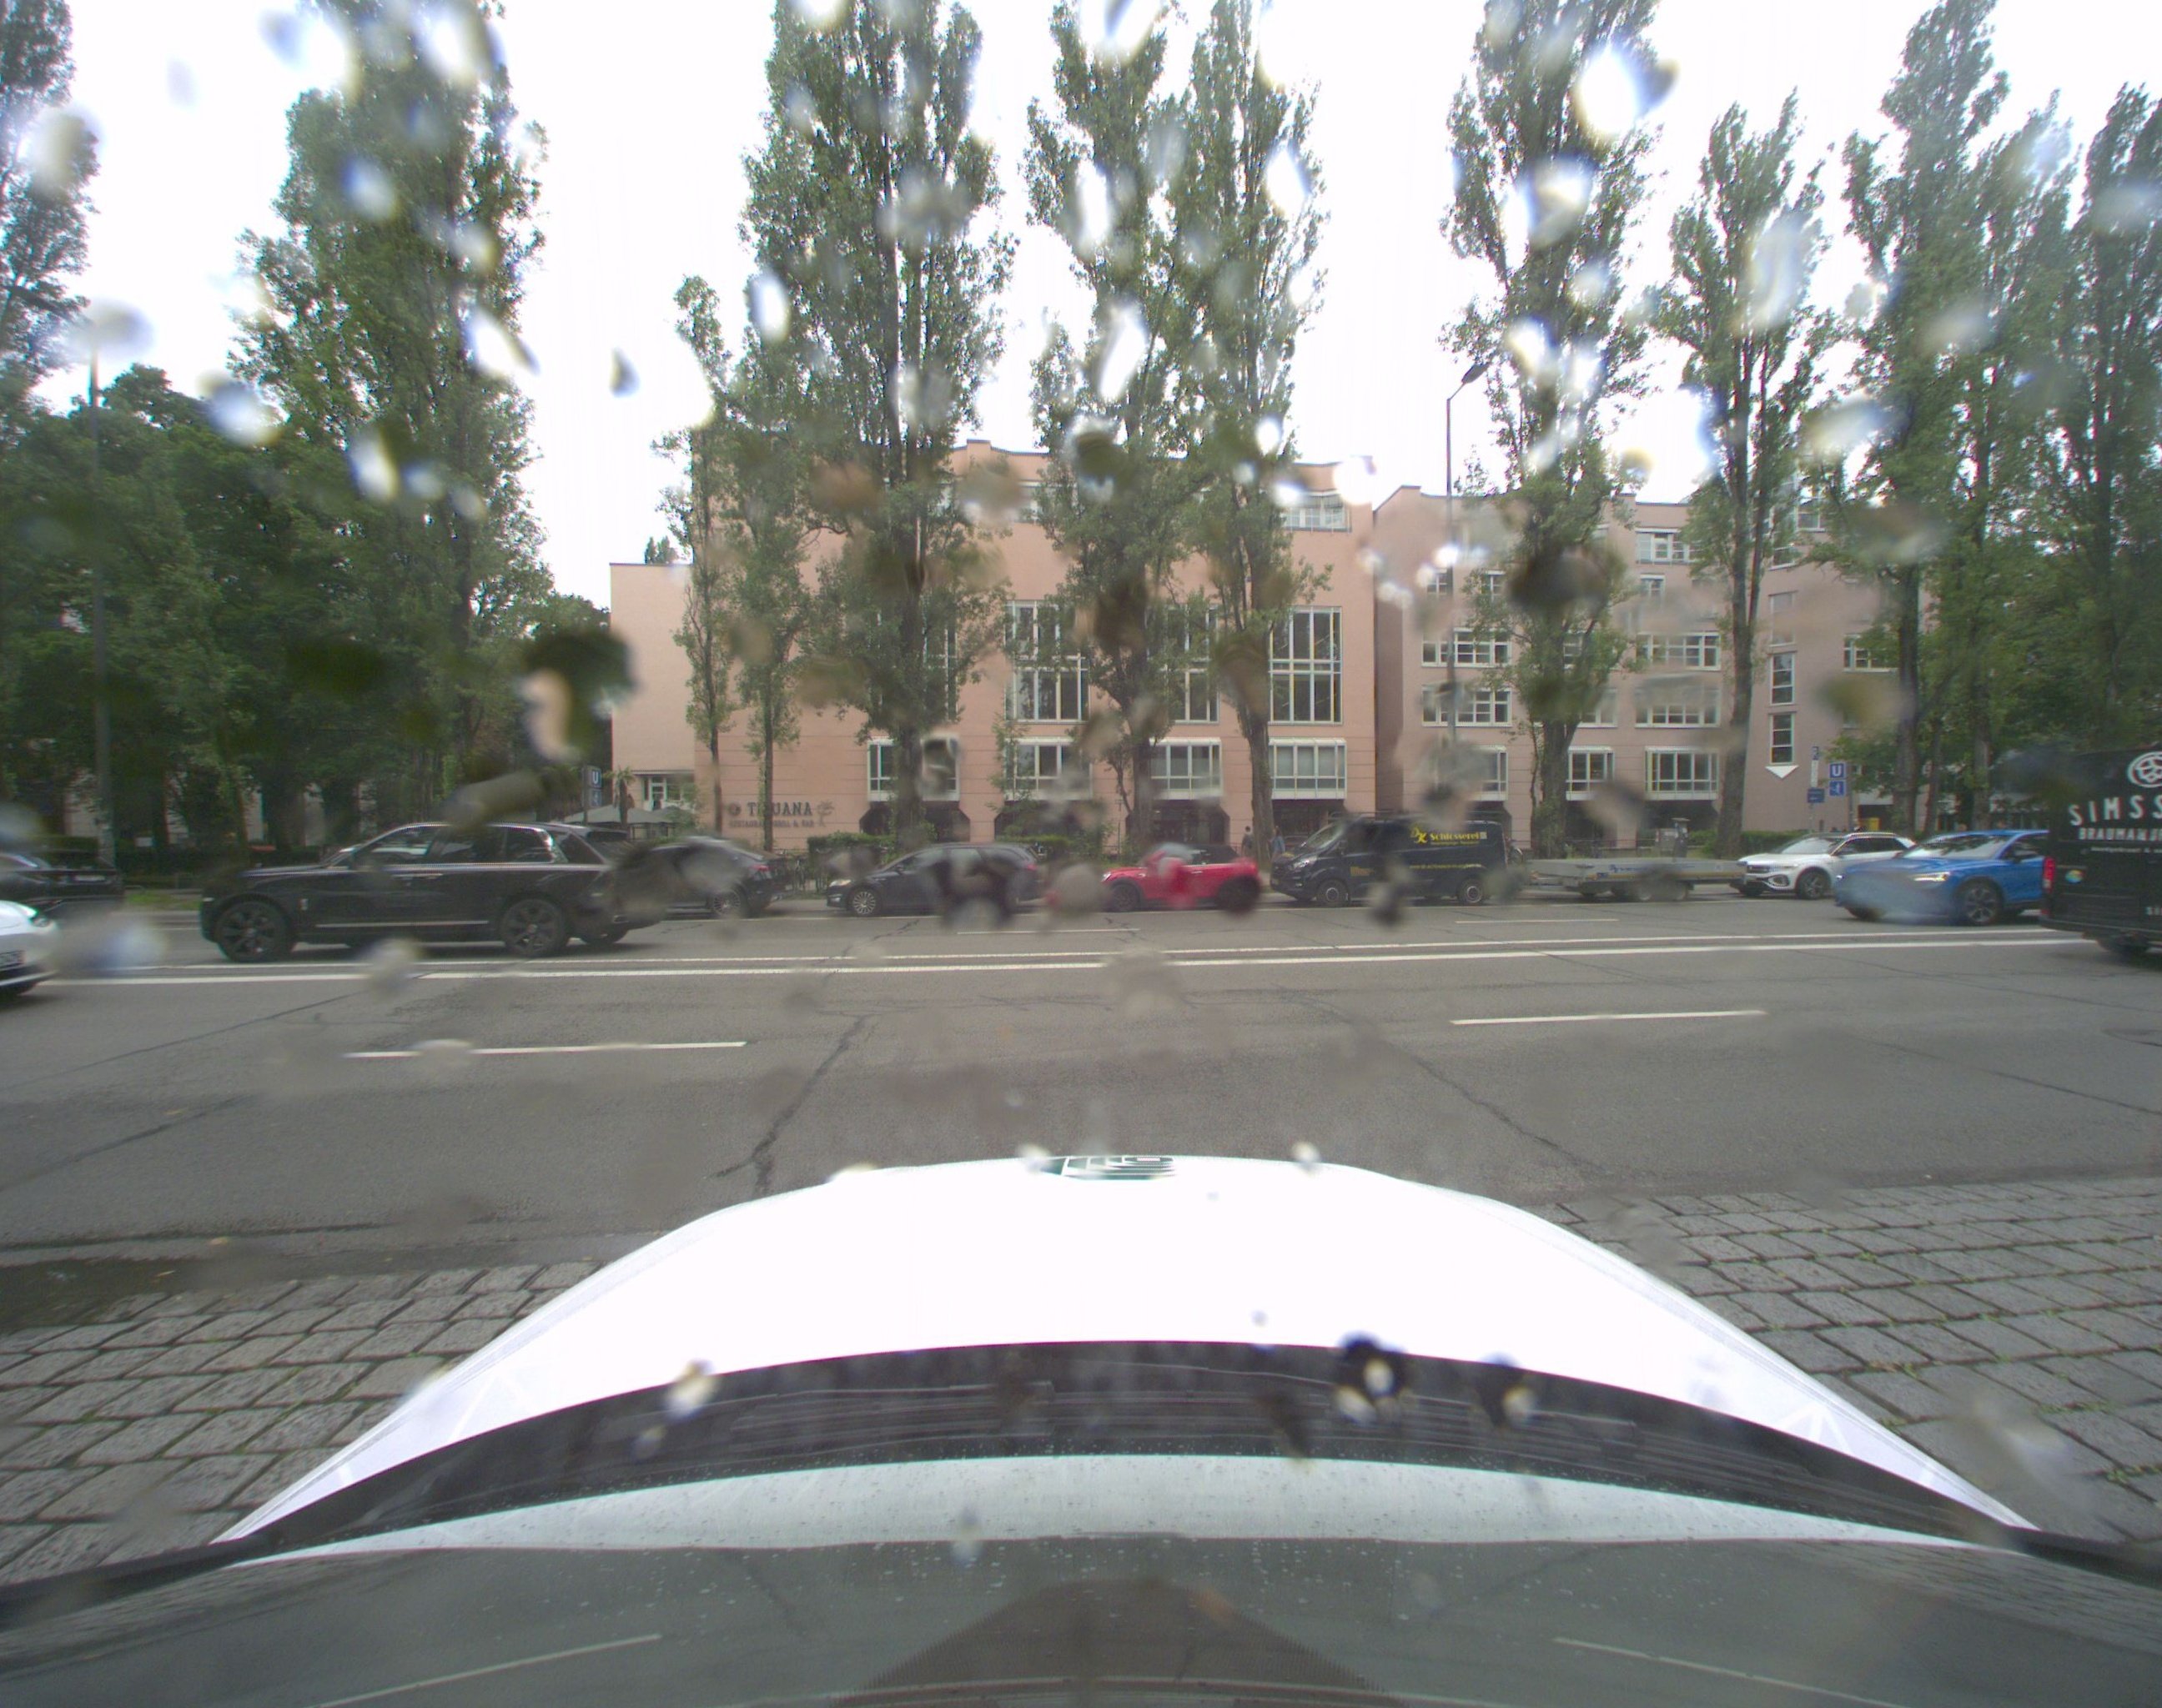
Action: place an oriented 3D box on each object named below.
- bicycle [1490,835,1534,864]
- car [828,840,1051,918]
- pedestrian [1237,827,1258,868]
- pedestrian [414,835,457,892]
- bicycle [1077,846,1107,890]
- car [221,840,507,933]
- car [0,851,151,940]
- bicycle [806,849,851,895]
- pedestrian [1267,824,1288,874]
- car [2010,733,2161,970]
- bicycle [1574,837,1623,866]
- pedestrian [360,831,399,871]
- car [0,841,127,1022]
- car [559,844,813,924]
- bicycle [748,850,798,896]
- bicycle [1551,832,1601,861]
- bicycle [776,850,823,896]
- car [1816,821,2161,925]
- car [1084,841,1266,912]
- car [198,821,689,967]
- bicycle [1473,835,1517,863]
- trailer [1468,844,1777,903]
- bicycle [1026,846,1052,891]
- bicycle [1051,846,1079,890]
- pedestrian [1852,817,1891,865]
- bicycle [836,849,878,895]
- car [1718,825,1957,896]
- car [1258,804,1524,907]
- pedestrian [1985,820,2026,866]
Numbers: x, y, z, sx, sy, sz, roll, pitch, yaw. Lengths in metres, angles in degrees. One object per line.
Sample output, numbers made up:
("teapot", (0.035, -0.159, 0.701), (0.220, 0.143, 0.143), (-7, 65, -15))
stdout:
("bicycle", (17.641, -0.211, 33.391), (0.672, 1.124, 1.986), (-1, 2, -4))
("car", (-3.002, 0.501, 17.960), (4.601, 1.528, 1.791), (-1, 1, -5))
("pedestrian", (7.068, -0.288, 34.618), (0.705, 1.713, 0.731), (-1, 1, -2))
("pedestrian", (-19.818, 0.276, 25.005), (0.728, 1.713, 0.708), (-1, 1, -4))
("bicycle", (0.285, 0.363, 22.519), (0.672, 1.124, 1.727), (-1, 2, -4))
("car", (-14.515, 0.613, 16.714), (4.060, 1.732, 1.789), (-1, 0, -7))
("car", (-21.439, 0.793, 15.880), (4.216, 1.600, 1.791), (-1, 1, -5))
("bicycle", (-6.757, 0.459, 21.873), (0.672, 1.124, 1.986), (-1, 2, -4))
("pedestrian", (6.627, -0.179, 27.434), (0.556, 1.663, 0.620), (-1, 1, -1))
("car", (14.573, -0.087, 9.358), (5.904, 2.555, 2.079), (-1, 3, -6))
("bicycle", (21.209, -0.119, 33.408), (0.672, 1.124, 1.986), (-1, 2, -4))
("pedestrian", (-24.247, -0.115, 28.154), (0.705, 1.355, 0.731), (-1, 1, -4))
("car", (-11.959, 0.747, 7.037), (4.617, 1.575, 1.996), (-1, 3, -6))
("car", (-8.277, 0.592, 17.439), (4.492, 1.528, 1.791), (-1, 1, -5))
("bicycle", (-8.200, 0.486, 21.764), (0.672, 1.124, 1.986), (-1, 2, -4))
("bicycle", (20.306, -0.335, 33.440), (0.672, 1.124, 2.104), (-1, 2, -4))
("bicycle", (-7.509, 0.473, 21.835), (0.672, 1.124, 1.986), (-1, 2, -4))
("car", (15.415, 0.281, 13.816), (4.400, 1.579, 1.869), (-1, 0, -5))
("car", (2.017, 0.461, 18.207), (3.851, 1.448, 1.677), (-1, 1, -3))
("car", (-8.512, 0.486, 11.366), (5.041, 1.748, 1.996), (-1, 0, -7))
("bicycle", (16.914, -0.226, 33.319), (0.672, 1.124, 1.986), (-1, 2, -4))
("trailer", (12.787, 0.408, 19.506), (6.007, 1.199, 2.401), (-1, 2, -4))
("bicycle", (-1.177, 0.374, 22.402), (0.672, 1.124, 1.739), (-1, 2, -4))
("bicycle", (-0.455, 0.371, 22.457), (0.672, 1.124, 1.739), (-1, 2, -4))
("pedestrian", (28.529, -0.475, 29.409), (0.728, 1.713, 0.708), (-1, 1, -4))
("bicycle", (-6.008, 0.464, 21.927), (0.672, 1.124, 1.986), (-1, 2, -4))
("car", (18.090, 0.146, 19.600), (4.211, 1.542, 1.804), (-1, 0, -3))
("car", (7.088, -0.007, 18.913), (5.470, 2.197, 2.020), (-1, 1, -5))
("pedestrian", (34.430, -0.412, 30.350), (0.728, 1.713, 0.708), (-1, 1, -4))
